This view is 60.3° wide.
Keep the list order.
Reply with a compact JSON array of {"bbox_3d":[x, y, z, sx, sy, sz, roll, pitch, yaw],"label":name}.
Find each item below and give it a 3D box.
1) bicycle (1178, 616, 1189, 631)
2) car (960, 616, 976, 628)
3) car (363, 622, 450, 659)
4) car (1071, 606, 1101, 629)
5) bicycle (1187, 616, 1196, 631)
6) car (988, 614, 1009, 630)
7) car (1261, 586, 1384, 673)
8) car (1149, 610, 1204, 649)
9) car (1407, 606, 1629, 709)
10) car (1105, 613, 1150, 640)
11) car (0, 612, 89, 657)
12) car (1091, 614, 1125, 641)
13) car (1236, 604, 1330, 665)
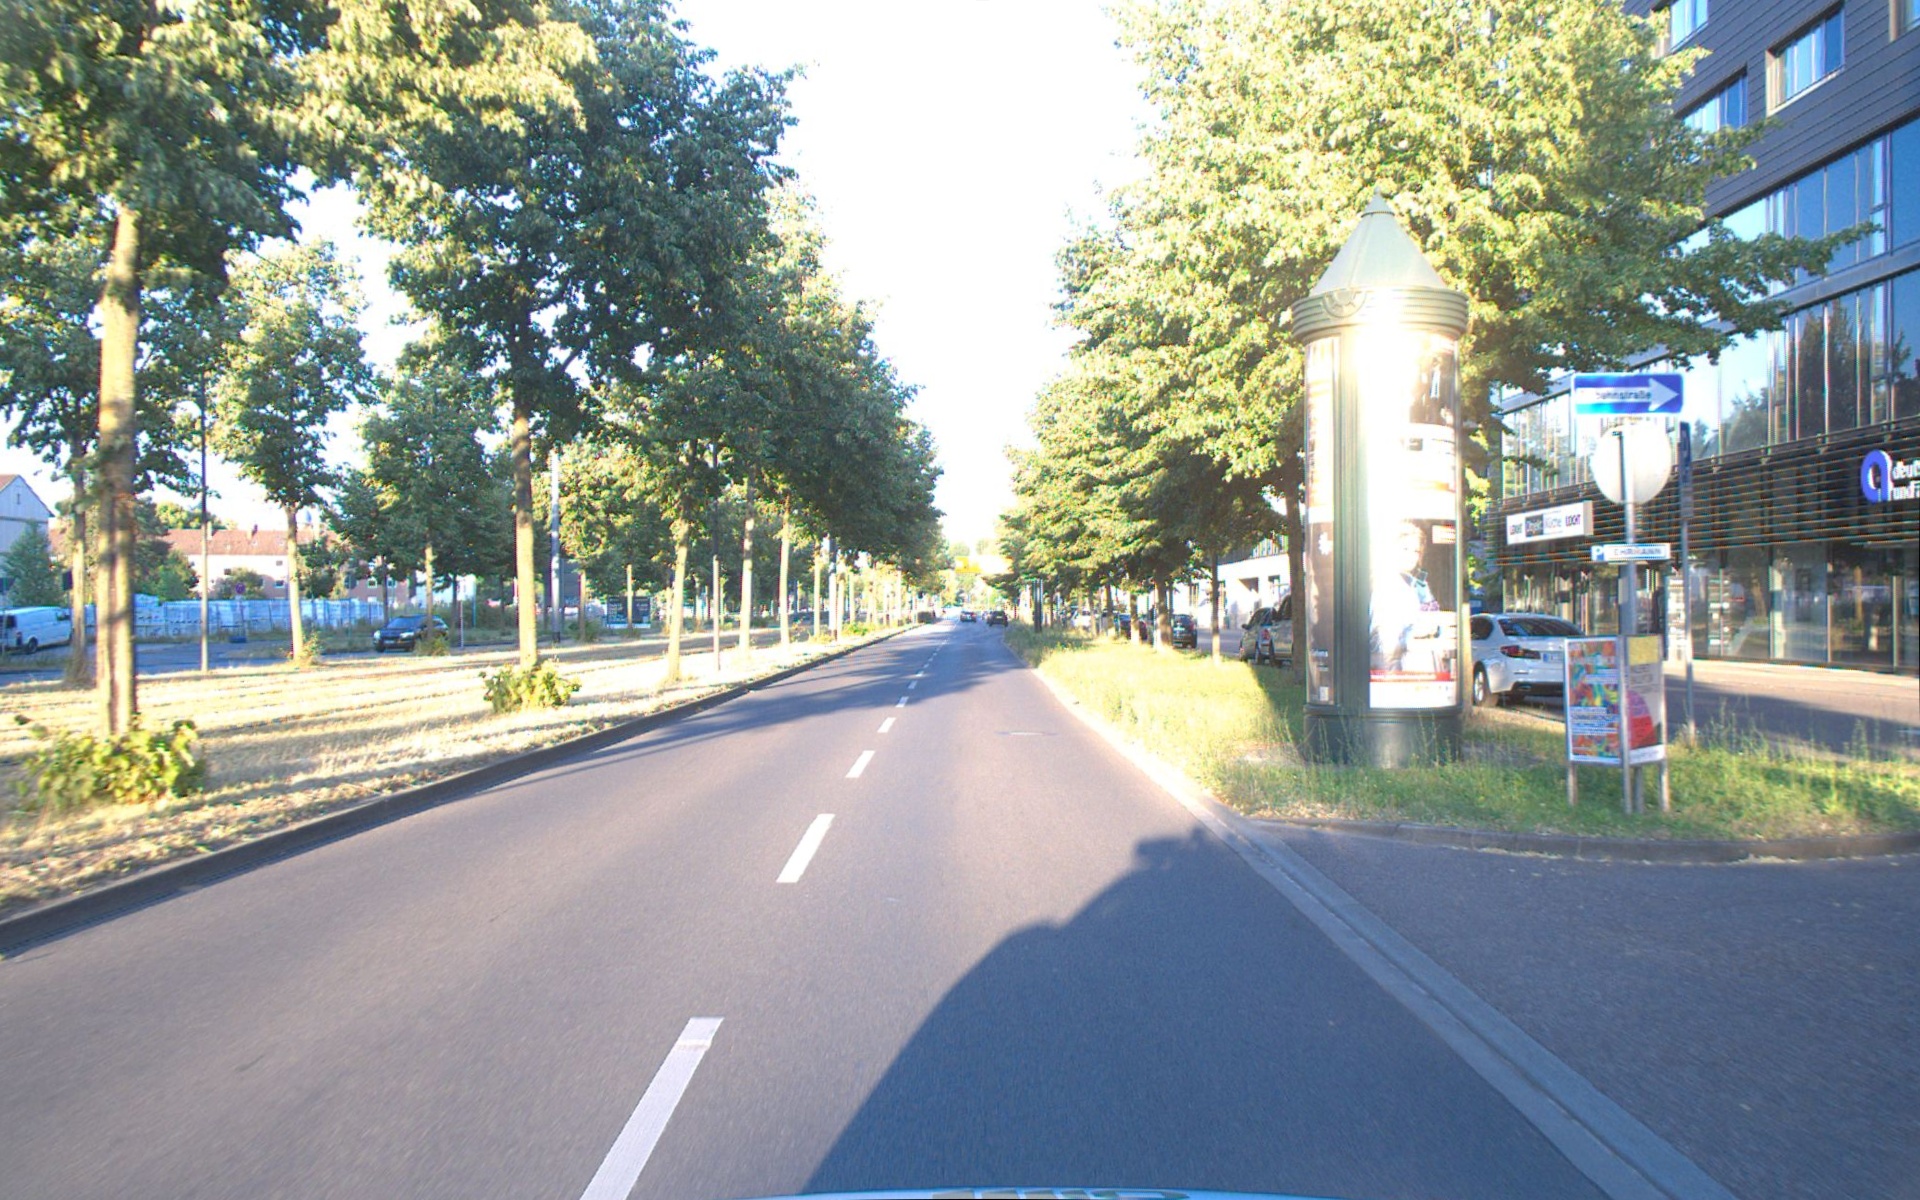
[{"bbox_3d":[16.035,1.675,118.731,0.582,1.057,1.893,0,-1,1],"label":"bicycle"},{"bbox_3d":[0.979,2.715,205.072,1.873,1.512,3.999,0,-1,-1],"label":"car"},{"bbox_3d":[-23.131,1.664,69.287,1.890,1.447,4.390,-1,0,4],"label":"car"},{"bbox_3d":[9.536,1.304,125.328,1.952,1.671,4.878,0,-1,1],"label":"car"},{"bbox_3d":[16.587,1.686,118.457,0.460,1.057,1.807,0,-1,1],"label":"bicycle"},{"bbox_3d":[3.736,2.119,160.473,1.873,1.512,3.999,0,-1,0],"label":"car"},{"bbox_3d":[8.920,0.704,41.122,1.946,2.024,4.931,1,0,0],"label":"car"},{"bbox_3d":[9.147,1.217,70.130,1.744,1.520,4.000,3,0,0],"label":"car"},{"bbox_3d":[9.091,0.883,27.433,1.878,1.523,5.039,1,0,-2],"label":"car"},{"bbox_3d":[9.157,1.439,90.636,1.815,1.391,4.832,-1,-1,-2],"label":"car"},{"bbox_3d":[-43.475,1.587,77.948,2.161,2.049,5.084,-1,0,1],"label":"car"},{"bbox_3d":[9.011,1.672,100.775,1.675,1.542,3.758,2,-1,-1],"label":"car"},{"bbox_3d":[8.997,0.942,46.389,1.801,1.598,4.060,1,0,-1],"label":"car"}]
